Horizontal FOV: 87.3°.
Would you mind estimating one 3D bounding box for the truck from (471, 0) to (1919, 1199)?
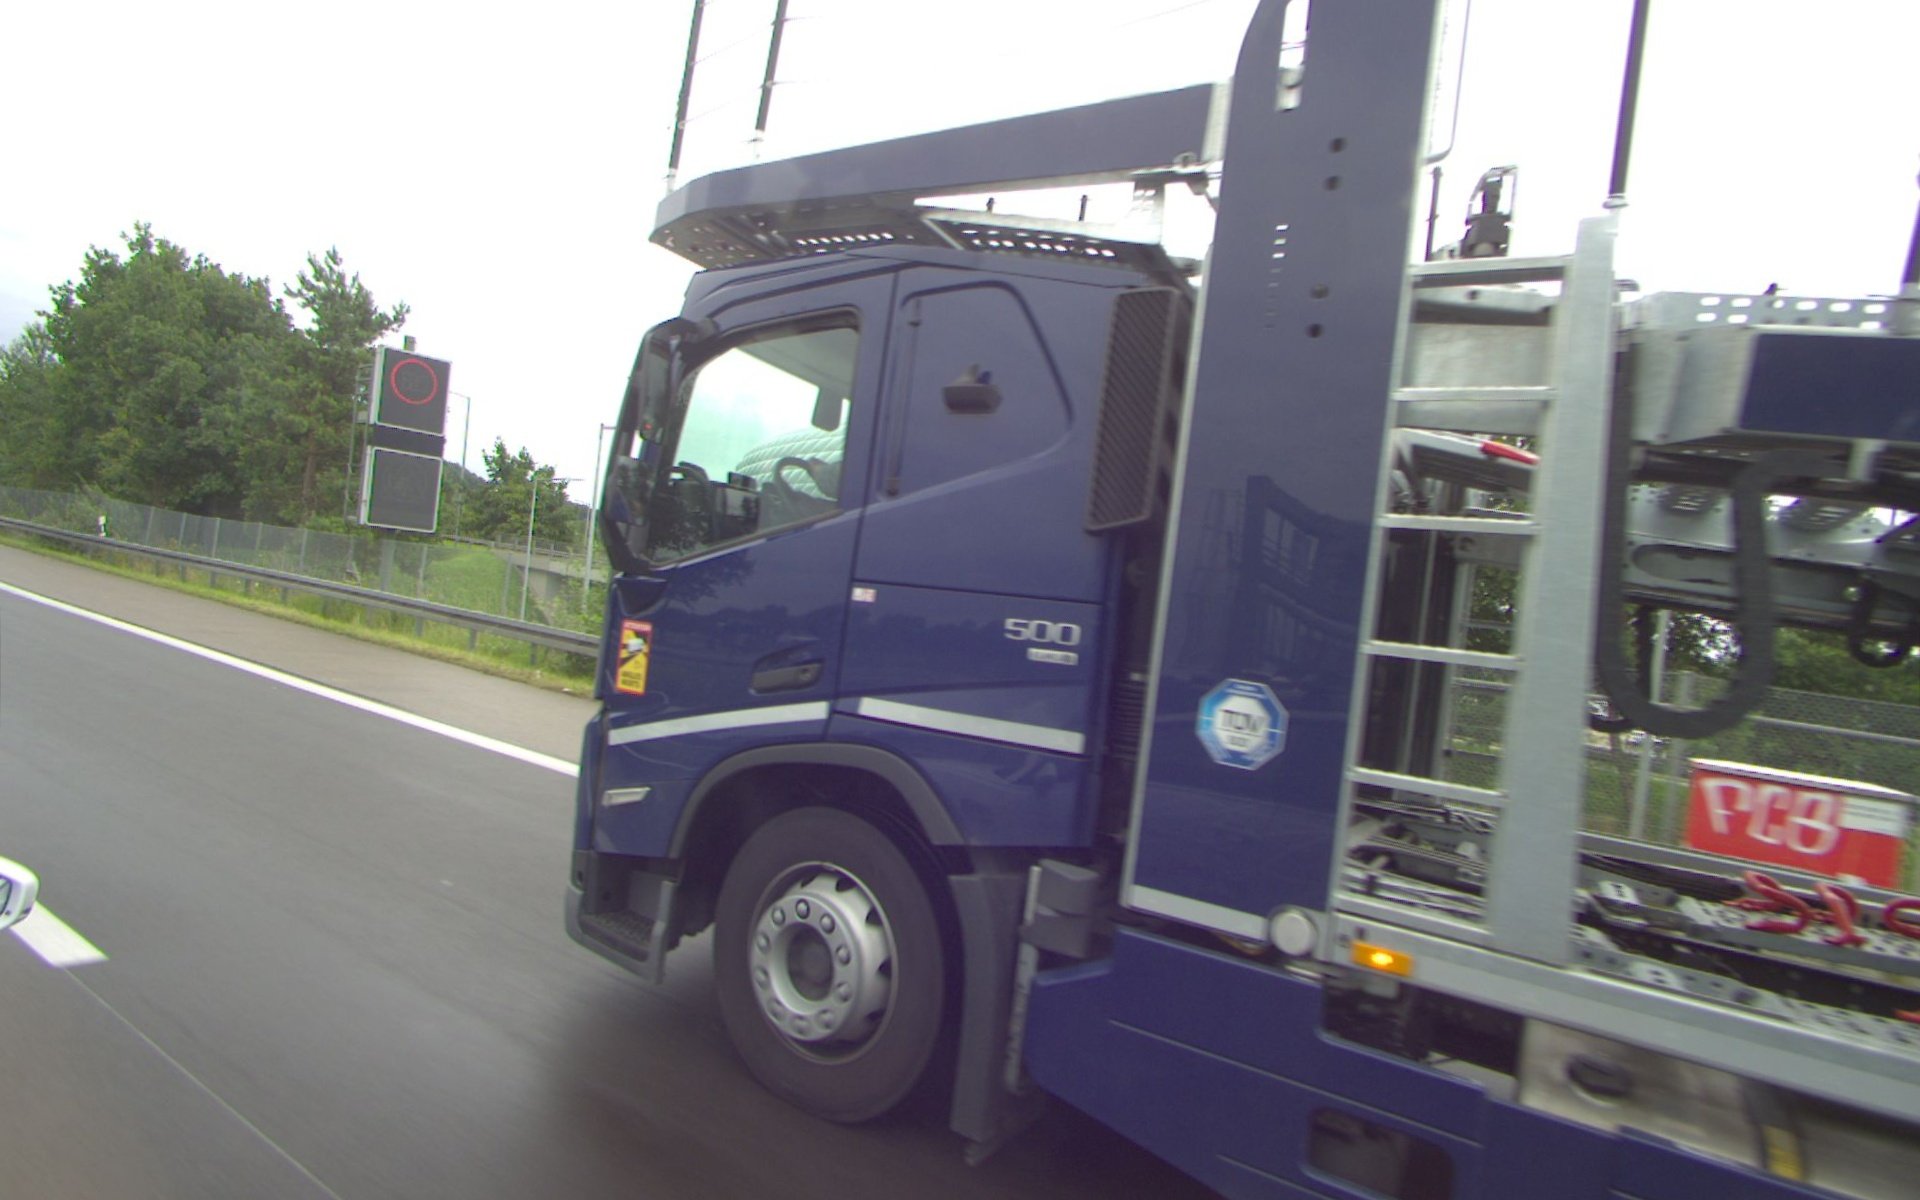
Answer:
[{"bbox_3d":[3.226,0.046,2.207,8.973,4.012,2.746,8,-2,30],"label":"truck"}]
